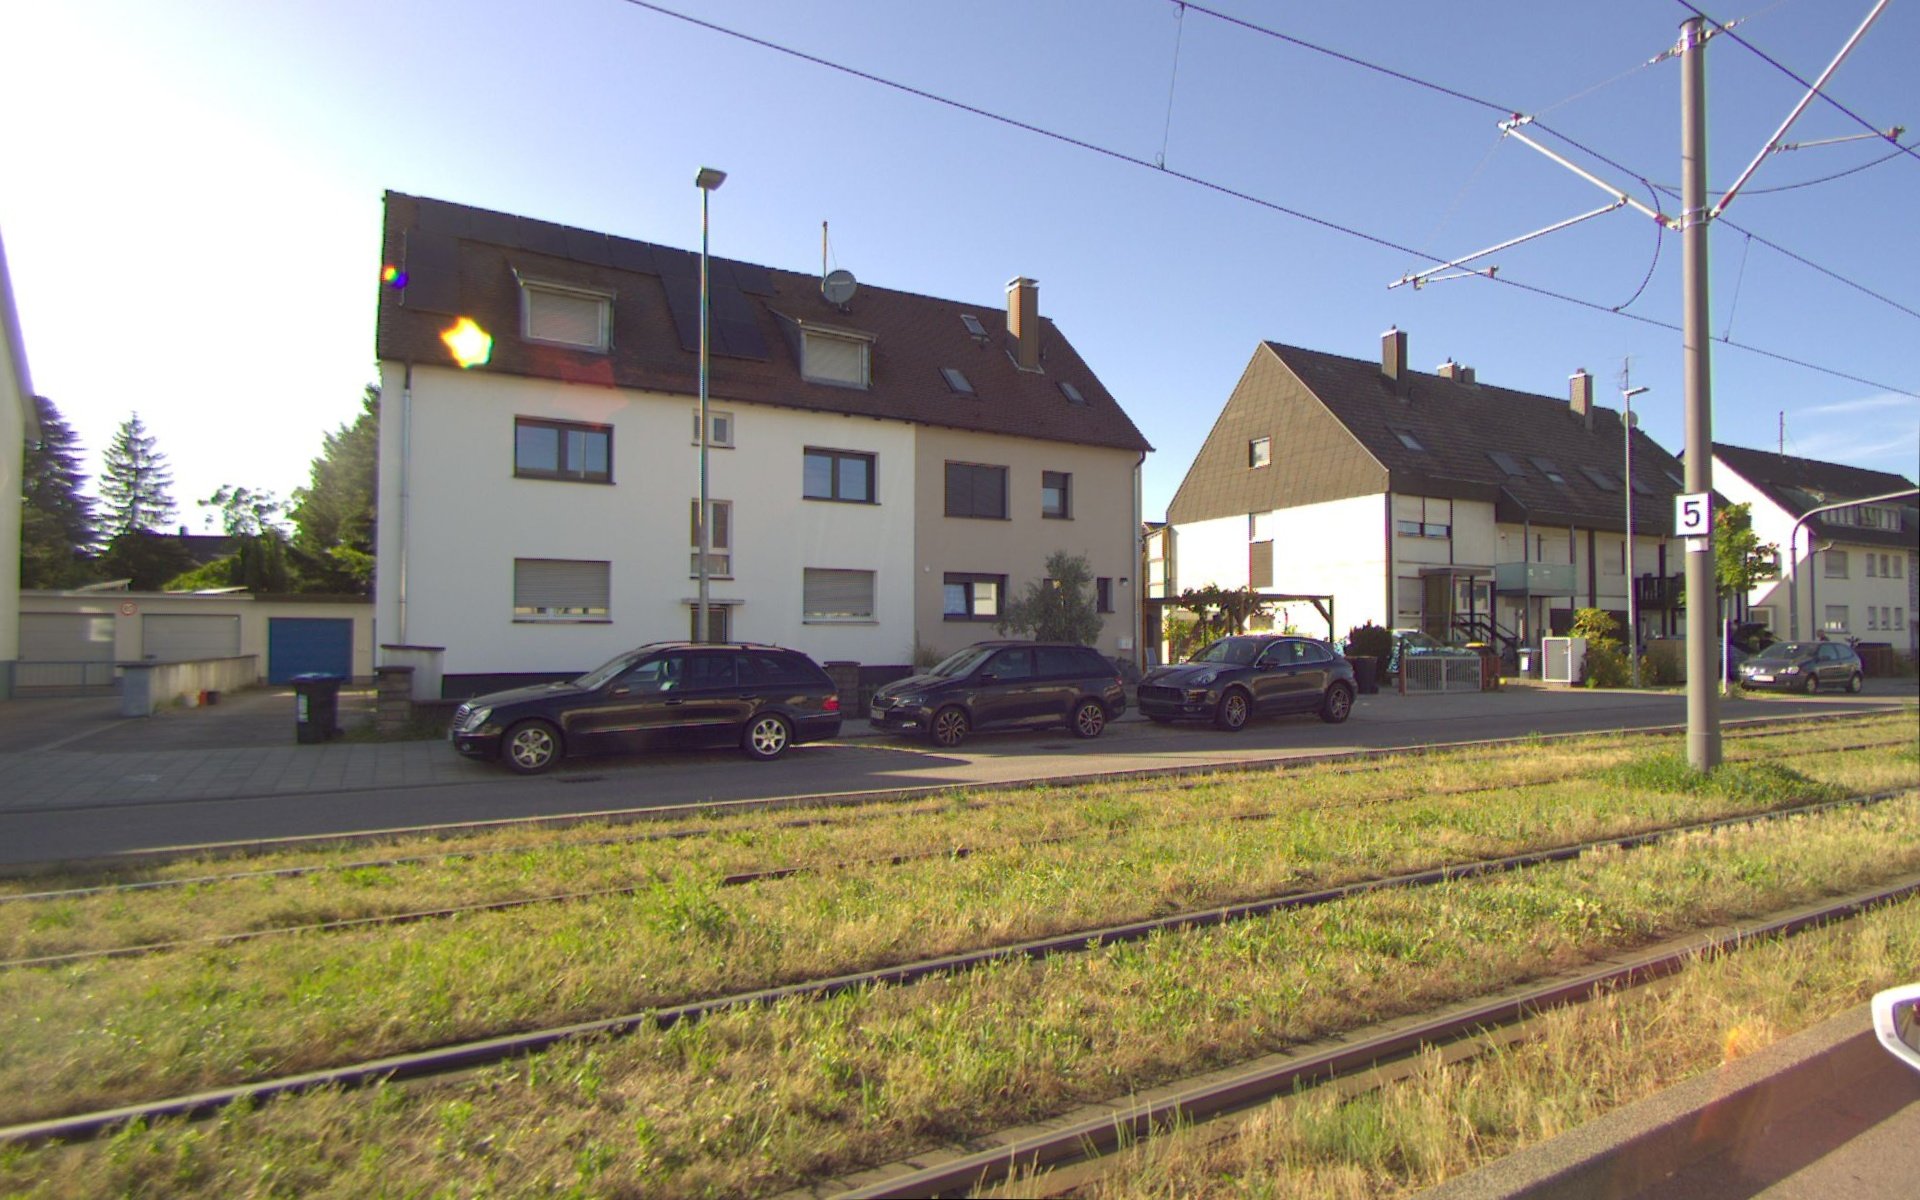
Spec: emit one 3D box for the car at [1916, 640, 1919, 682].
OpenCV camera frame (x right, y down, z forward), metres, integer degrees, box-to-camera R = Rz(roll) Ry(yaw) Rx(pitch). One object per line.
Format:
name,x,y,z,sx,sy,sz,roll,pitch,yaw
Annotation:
car,34.770,2.156,34.629,3.673,1.427,1.612,3,-4,-29

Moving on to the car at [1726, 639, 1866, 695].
car,23.750,1.869,28.540,3.667,1.472,1.614,1,-2,-25

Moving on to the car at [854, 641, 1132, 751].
car,0.560,1.389,15.571,4.149,1.494,1.514,1,-2,-29

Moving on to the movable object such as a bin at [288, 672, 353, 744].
movable object such as a bin,-8.713,1.468,13.703,0.696,0.939,0.386,3,-3,-31

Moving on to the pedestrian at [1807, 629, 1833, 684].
pedestrian,28.360,1.854,33.113,0.529,1.769,0.466,1,-2,-30

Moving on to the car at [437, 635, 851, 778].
car,-4.003,1.260,12.984,4.818,1.543,1.870,2,-2,-27

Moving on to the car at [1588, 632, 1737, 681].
car,24.149,1.917,34.638,1.718,1.588,3.876,2,-3,-36

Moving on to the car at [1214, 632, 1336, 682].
car,11.166,1.984,35.879,1.832,1.676,4.145,1,-2,-26

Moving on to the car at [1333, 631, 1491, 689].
car,13.753,1.783,30.774,1.740,1.638,4.142,1,-3,-33

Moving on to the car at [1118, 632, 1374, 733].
car,5.262,1.408,18.229,4.760,1.618,1.793,1,-2,-33
